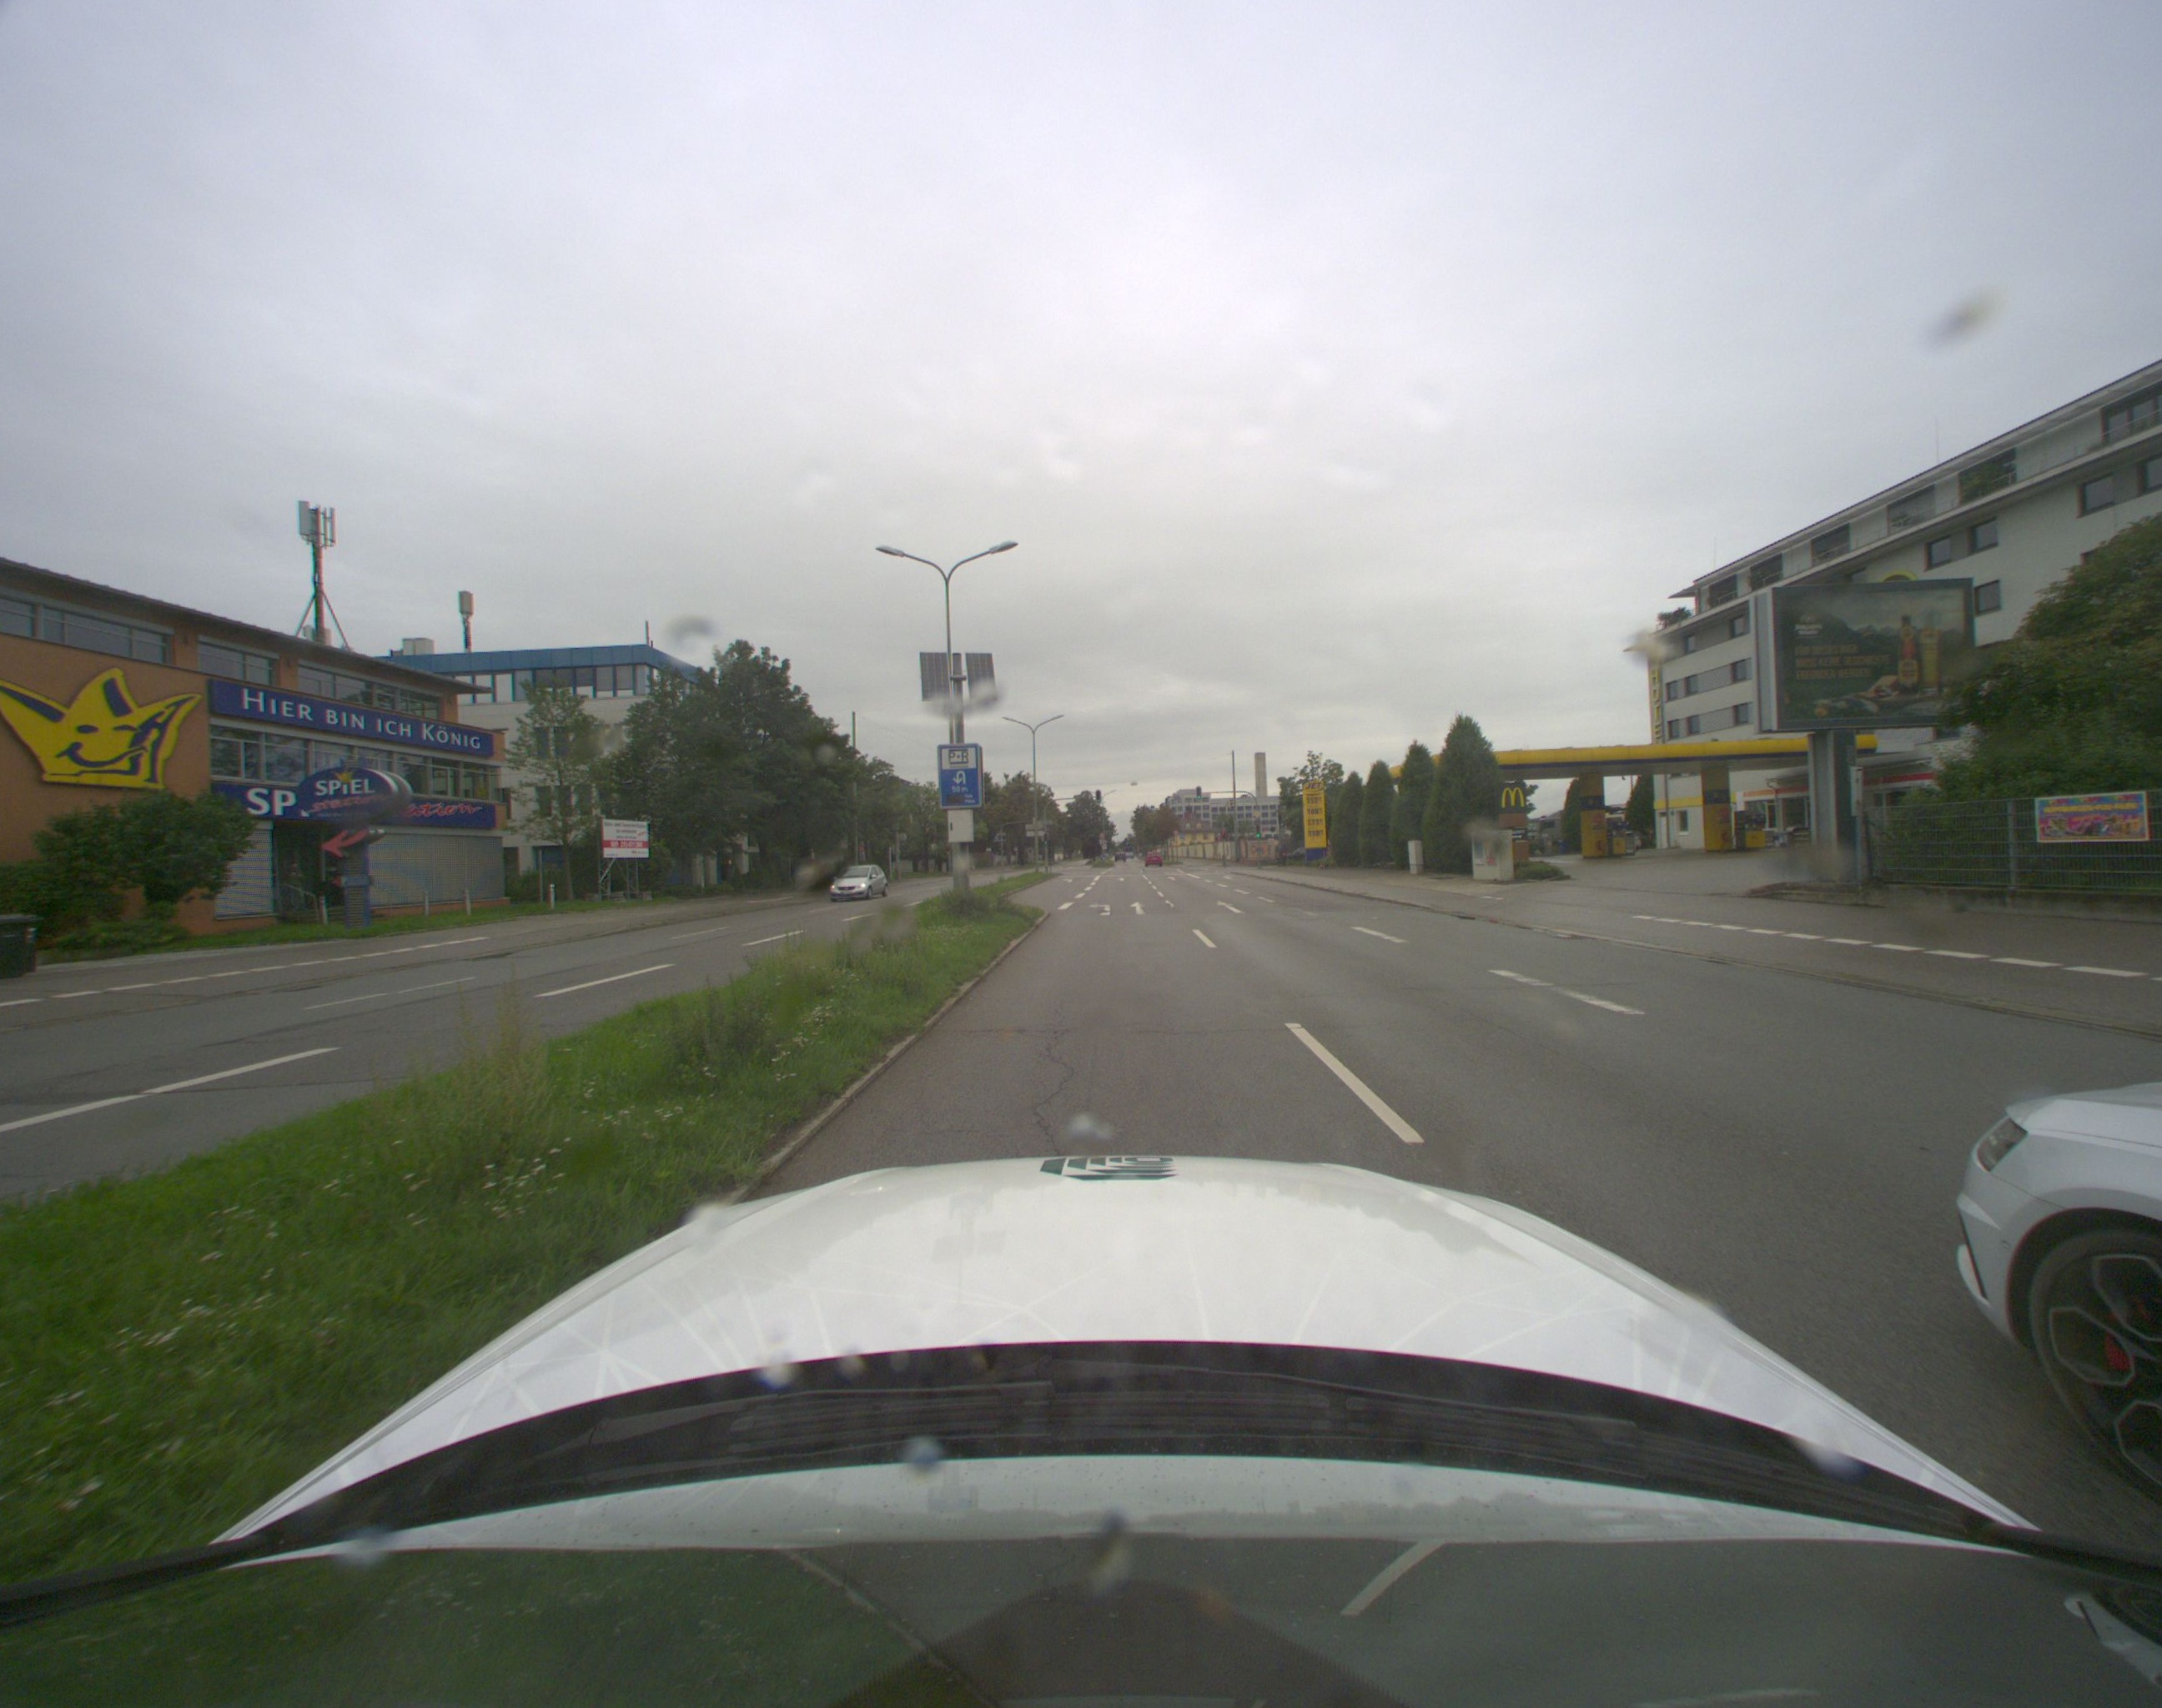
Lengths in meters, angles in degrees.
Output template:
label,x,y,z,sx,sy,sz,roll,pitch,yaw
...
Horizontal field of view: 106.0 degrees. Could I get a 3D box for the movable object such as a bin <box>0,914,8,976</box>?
label,x,y,z,sx,sy,sz,roll,pitch,yaw
movable object such as a bin,-19.270,1.605,14.020,0.734,1.078,0.656,-1,0,2

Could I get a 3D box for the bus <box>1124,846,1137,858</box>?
label,x,y,z,sx,sy,sz,roll,pitch,yaw
bus,13.370,-0.477,220.588,3.209,3.127,10.347,-1,0,1

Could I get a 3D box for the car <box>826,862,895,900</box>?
label,x,y,z,sx,sy,sz,roll,pitch,yaw
car,-10.185,1.203,37.880,1.806,1.557,4.030,-3,0,4

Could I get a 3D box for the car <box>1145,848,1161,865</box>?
label,x,y,z,sx,sy,sz,roll,pitch,yaw
car,7.961,0.265,89.710,1.479,1.715,3.552,-1,0,1

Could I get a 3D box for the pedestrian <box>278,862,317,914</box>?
label,x,y,z,sx,sy,sz,roll,pitch,yaw
pedestrian,-26.508,1.133,27.553,0.655,1.712,0.663,-1,0,5

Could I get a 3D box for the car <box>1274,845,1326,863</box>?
label,x,y,z,sx,sy,sz,roll,pitch,yaw
car,19.695,-0.011,73.380,4.230,1.428,2.003,-3,0,4

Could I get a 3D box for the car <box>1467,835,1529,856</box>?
label,x,y,z,sx,sy,sz,roll,pitch,yaw
car,29.103,-0.564,57.020,1.697,1.384,4.352,-1,0,-8

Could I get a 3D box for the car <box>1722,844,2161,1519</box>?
label,x,y,z,sx,sy,sz,roll,pitch,yaw
car,3.286,0.711,0.757,1.871,1.468,4.502,-1,0,1

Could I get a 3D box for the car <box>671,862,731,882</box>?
label,x,y,z,sx,sy,sz,roll,pitch,yaw
car,-30.104,1.430,64.521,4.129,1.418,1.879,-1,0,19

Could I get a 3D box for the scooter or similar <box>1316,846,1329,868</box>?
label,x,y,z,sx,sy,sz,roll,pitch,yaw
scooter or similar,14.129,0.197,47.658,0.354,1.242,1.548,-5,-1,7

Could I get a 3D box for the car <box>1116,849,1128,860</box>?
label,x,y,z,sx,sy,sz,roll,pitch,yaw
car,7.121,0.015,142.016,2.077,1.866,4.387,-1,0,1

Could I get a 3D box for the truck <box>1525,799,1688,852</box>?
label,x,y,z,sx,sy,sz,roll,pitch,yaw
truck,44.790,-2.381,69.694,11.841,3.855,2.613,-3,0,4

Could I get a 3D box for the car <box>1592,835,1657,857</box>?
label,x,y,z,sx,sy,sz,roll,pitch,yaw
car,38.409,-0.540,57.695,1.895,1.478,4.195,-1,0,2

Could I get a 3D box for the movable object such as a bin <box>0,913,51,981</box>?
label,x,y,z,sx,sy,sz,roll,pitch,yaw
movable object such as a bin,-18.420,1.583,13.935,0.734,1.078,0.656,-1,0,2
